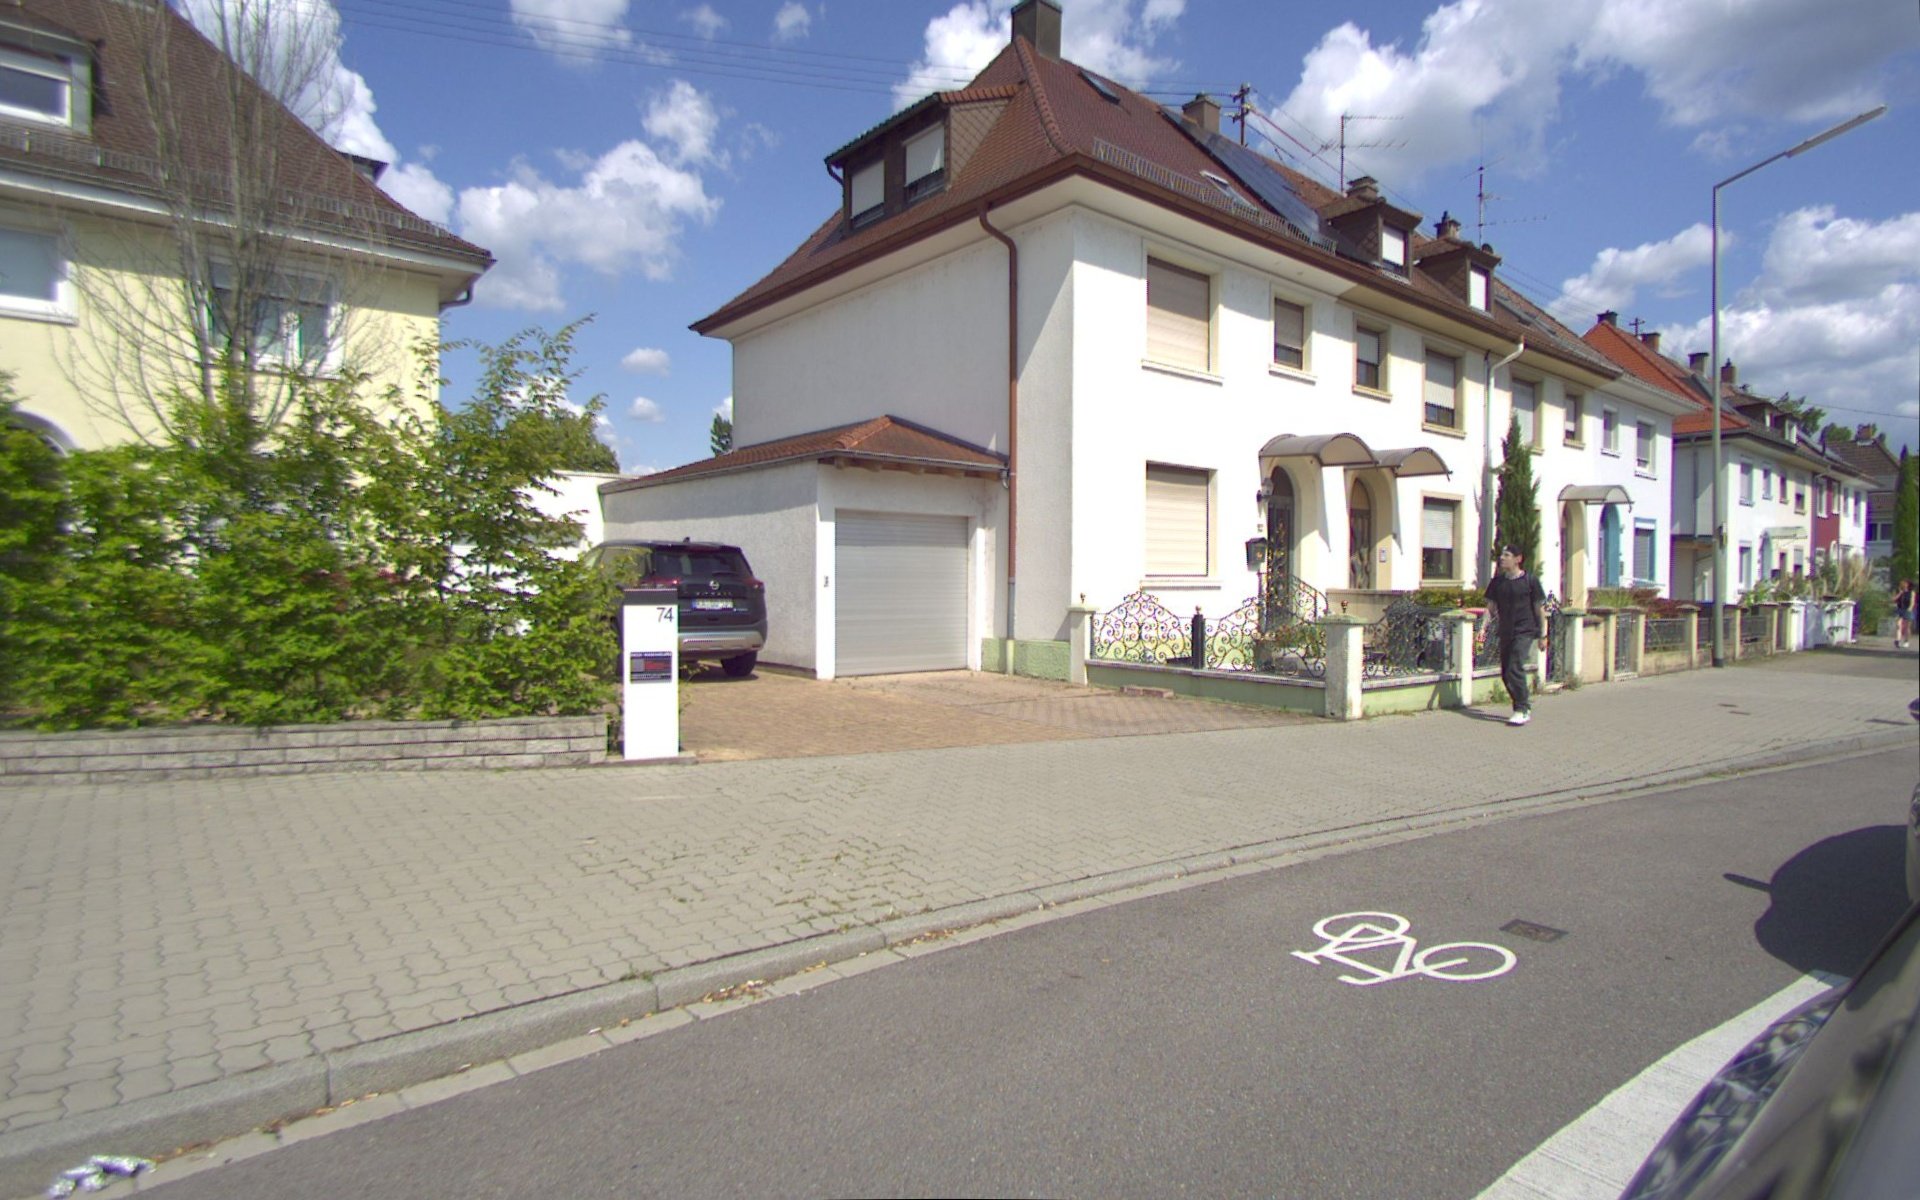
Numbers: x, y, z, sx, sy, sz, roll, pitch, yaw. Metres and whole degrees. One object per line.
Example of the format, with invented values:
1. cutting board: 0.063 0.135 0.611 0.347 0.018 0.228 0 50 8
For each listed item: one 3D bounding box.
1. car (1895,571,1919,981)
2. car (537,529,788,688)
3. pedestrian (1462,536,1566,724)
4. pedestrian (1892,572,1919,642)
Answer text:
1. car: 5.731 0.646 4.627 4.607 1.492 1.764 0 1 -43
2. car: -4.005 0.042 13.187 1.833 1.729 3.998 0 1 -37
3. pedestrian: 5.563 0.275 10.154 0.921 1.790 0.592 0 1 -41
4. pedestrian: 23.648 0.168 25.226 0.607 1.732 0.519 0 1 -39
